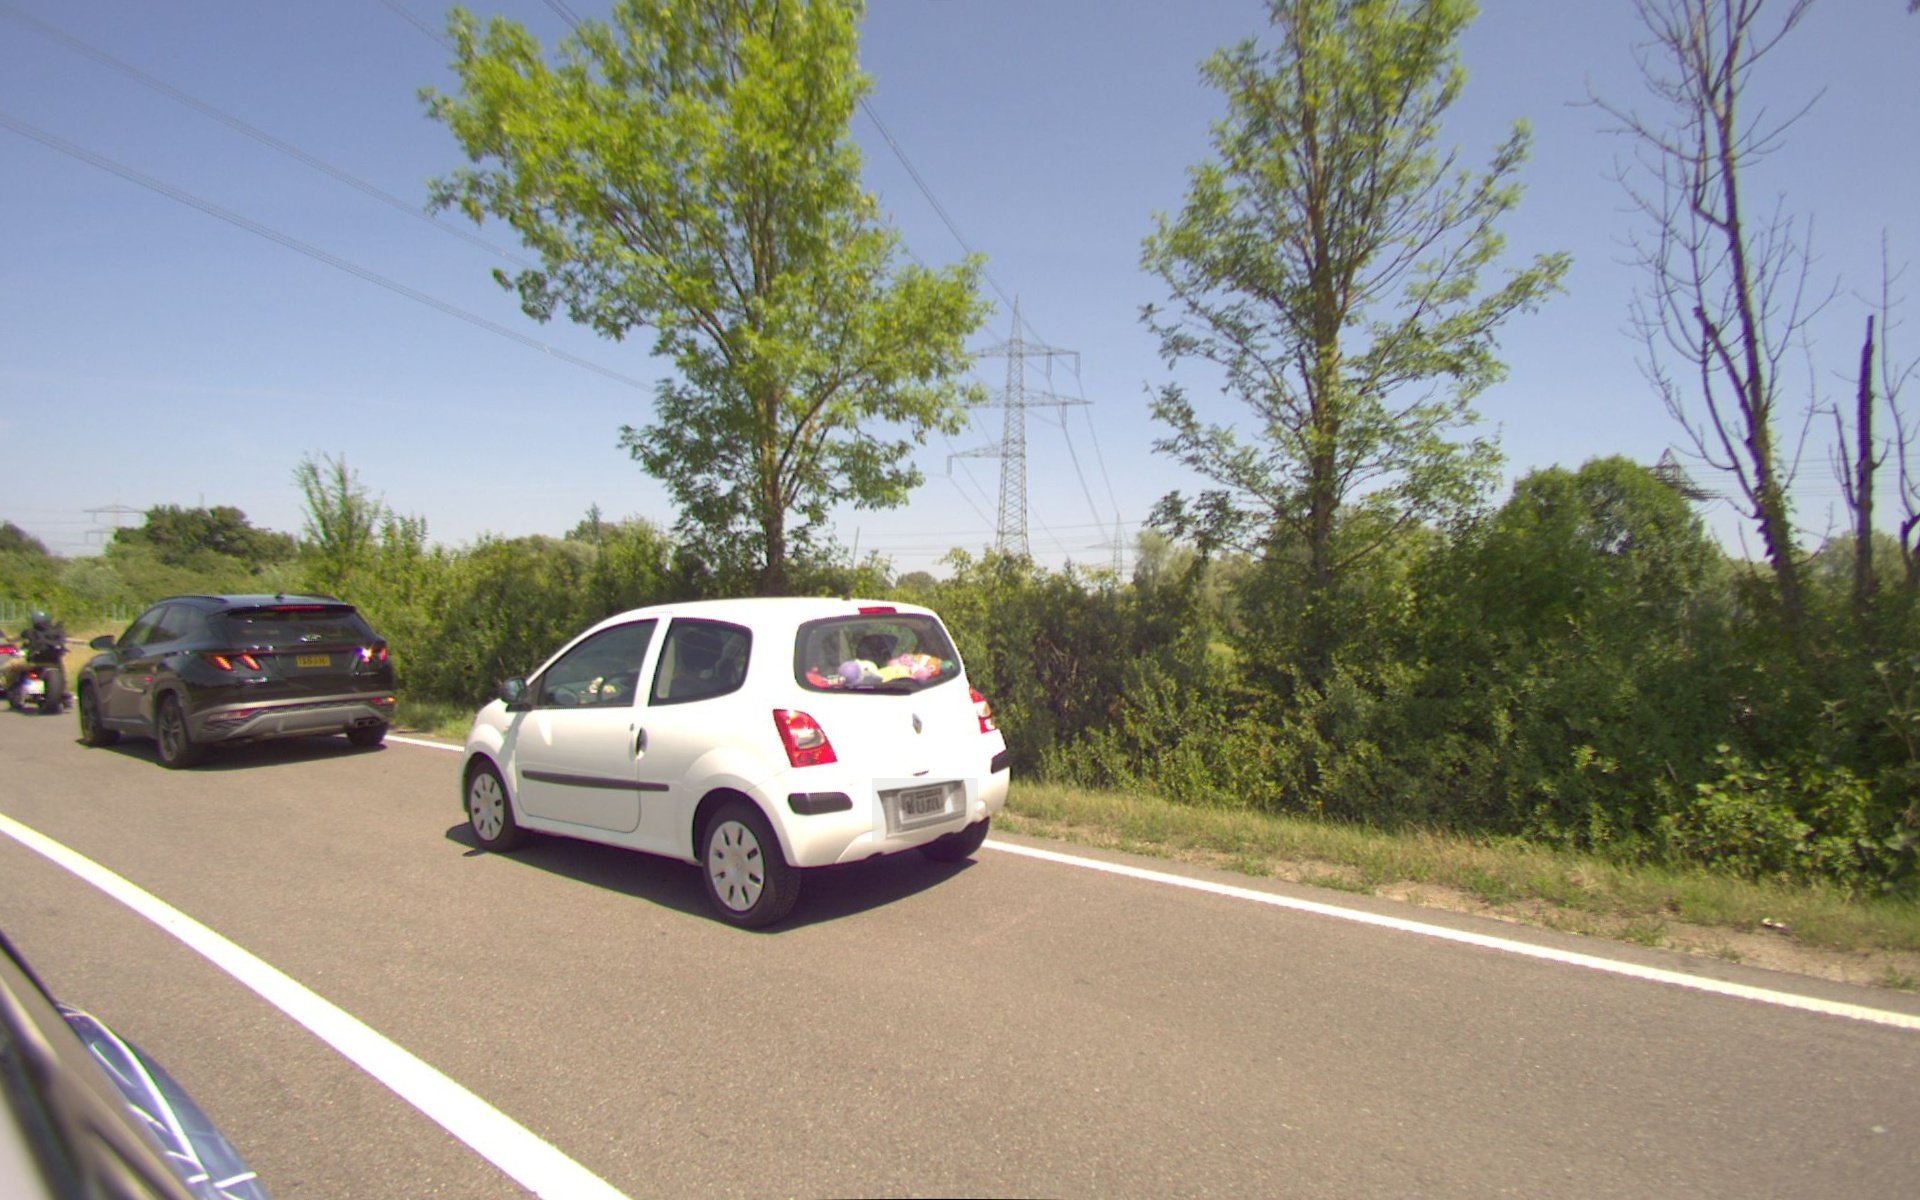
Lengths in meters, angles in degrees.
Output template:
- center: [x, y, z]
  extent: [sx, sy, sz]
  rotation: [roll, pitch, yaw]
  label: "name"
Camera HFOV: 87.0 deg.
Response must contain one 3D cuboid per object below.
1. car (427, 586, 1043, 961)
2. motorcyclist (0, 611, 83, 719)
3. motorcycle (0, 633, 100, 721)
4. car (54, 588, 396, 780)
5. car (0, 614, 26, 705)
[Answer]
- center: [-1.450, 0.706, 5.738]
  extent: [3.605, 1.453, 1.521]
  rotation: [-1, 1, 40]
  label: "car"
- center: [-13.589, 0.918, 14.834]
  extent: [1.126, 1.506, 0.775]
  rotation: [0, -1, 31]
  label: "motorcyclist"
- center: [-13.619, 1.092, 14.862]
  extent: [2.420, 1.132, 0.776]
  rotation: [0, 0, 31]
  label: "motorcycle"
- center: [-7.824, 0.740, 10.645]
  extent: [4.241, 1.650, 1.687]
  rotation: [-1, 0, 36]
  label: "car"
- center: [-18.082, 0.973, 17.314]
  extent: [4.791, 1.471, 1.828]
  rotation: [0, 0, 31]
  label: "car"
